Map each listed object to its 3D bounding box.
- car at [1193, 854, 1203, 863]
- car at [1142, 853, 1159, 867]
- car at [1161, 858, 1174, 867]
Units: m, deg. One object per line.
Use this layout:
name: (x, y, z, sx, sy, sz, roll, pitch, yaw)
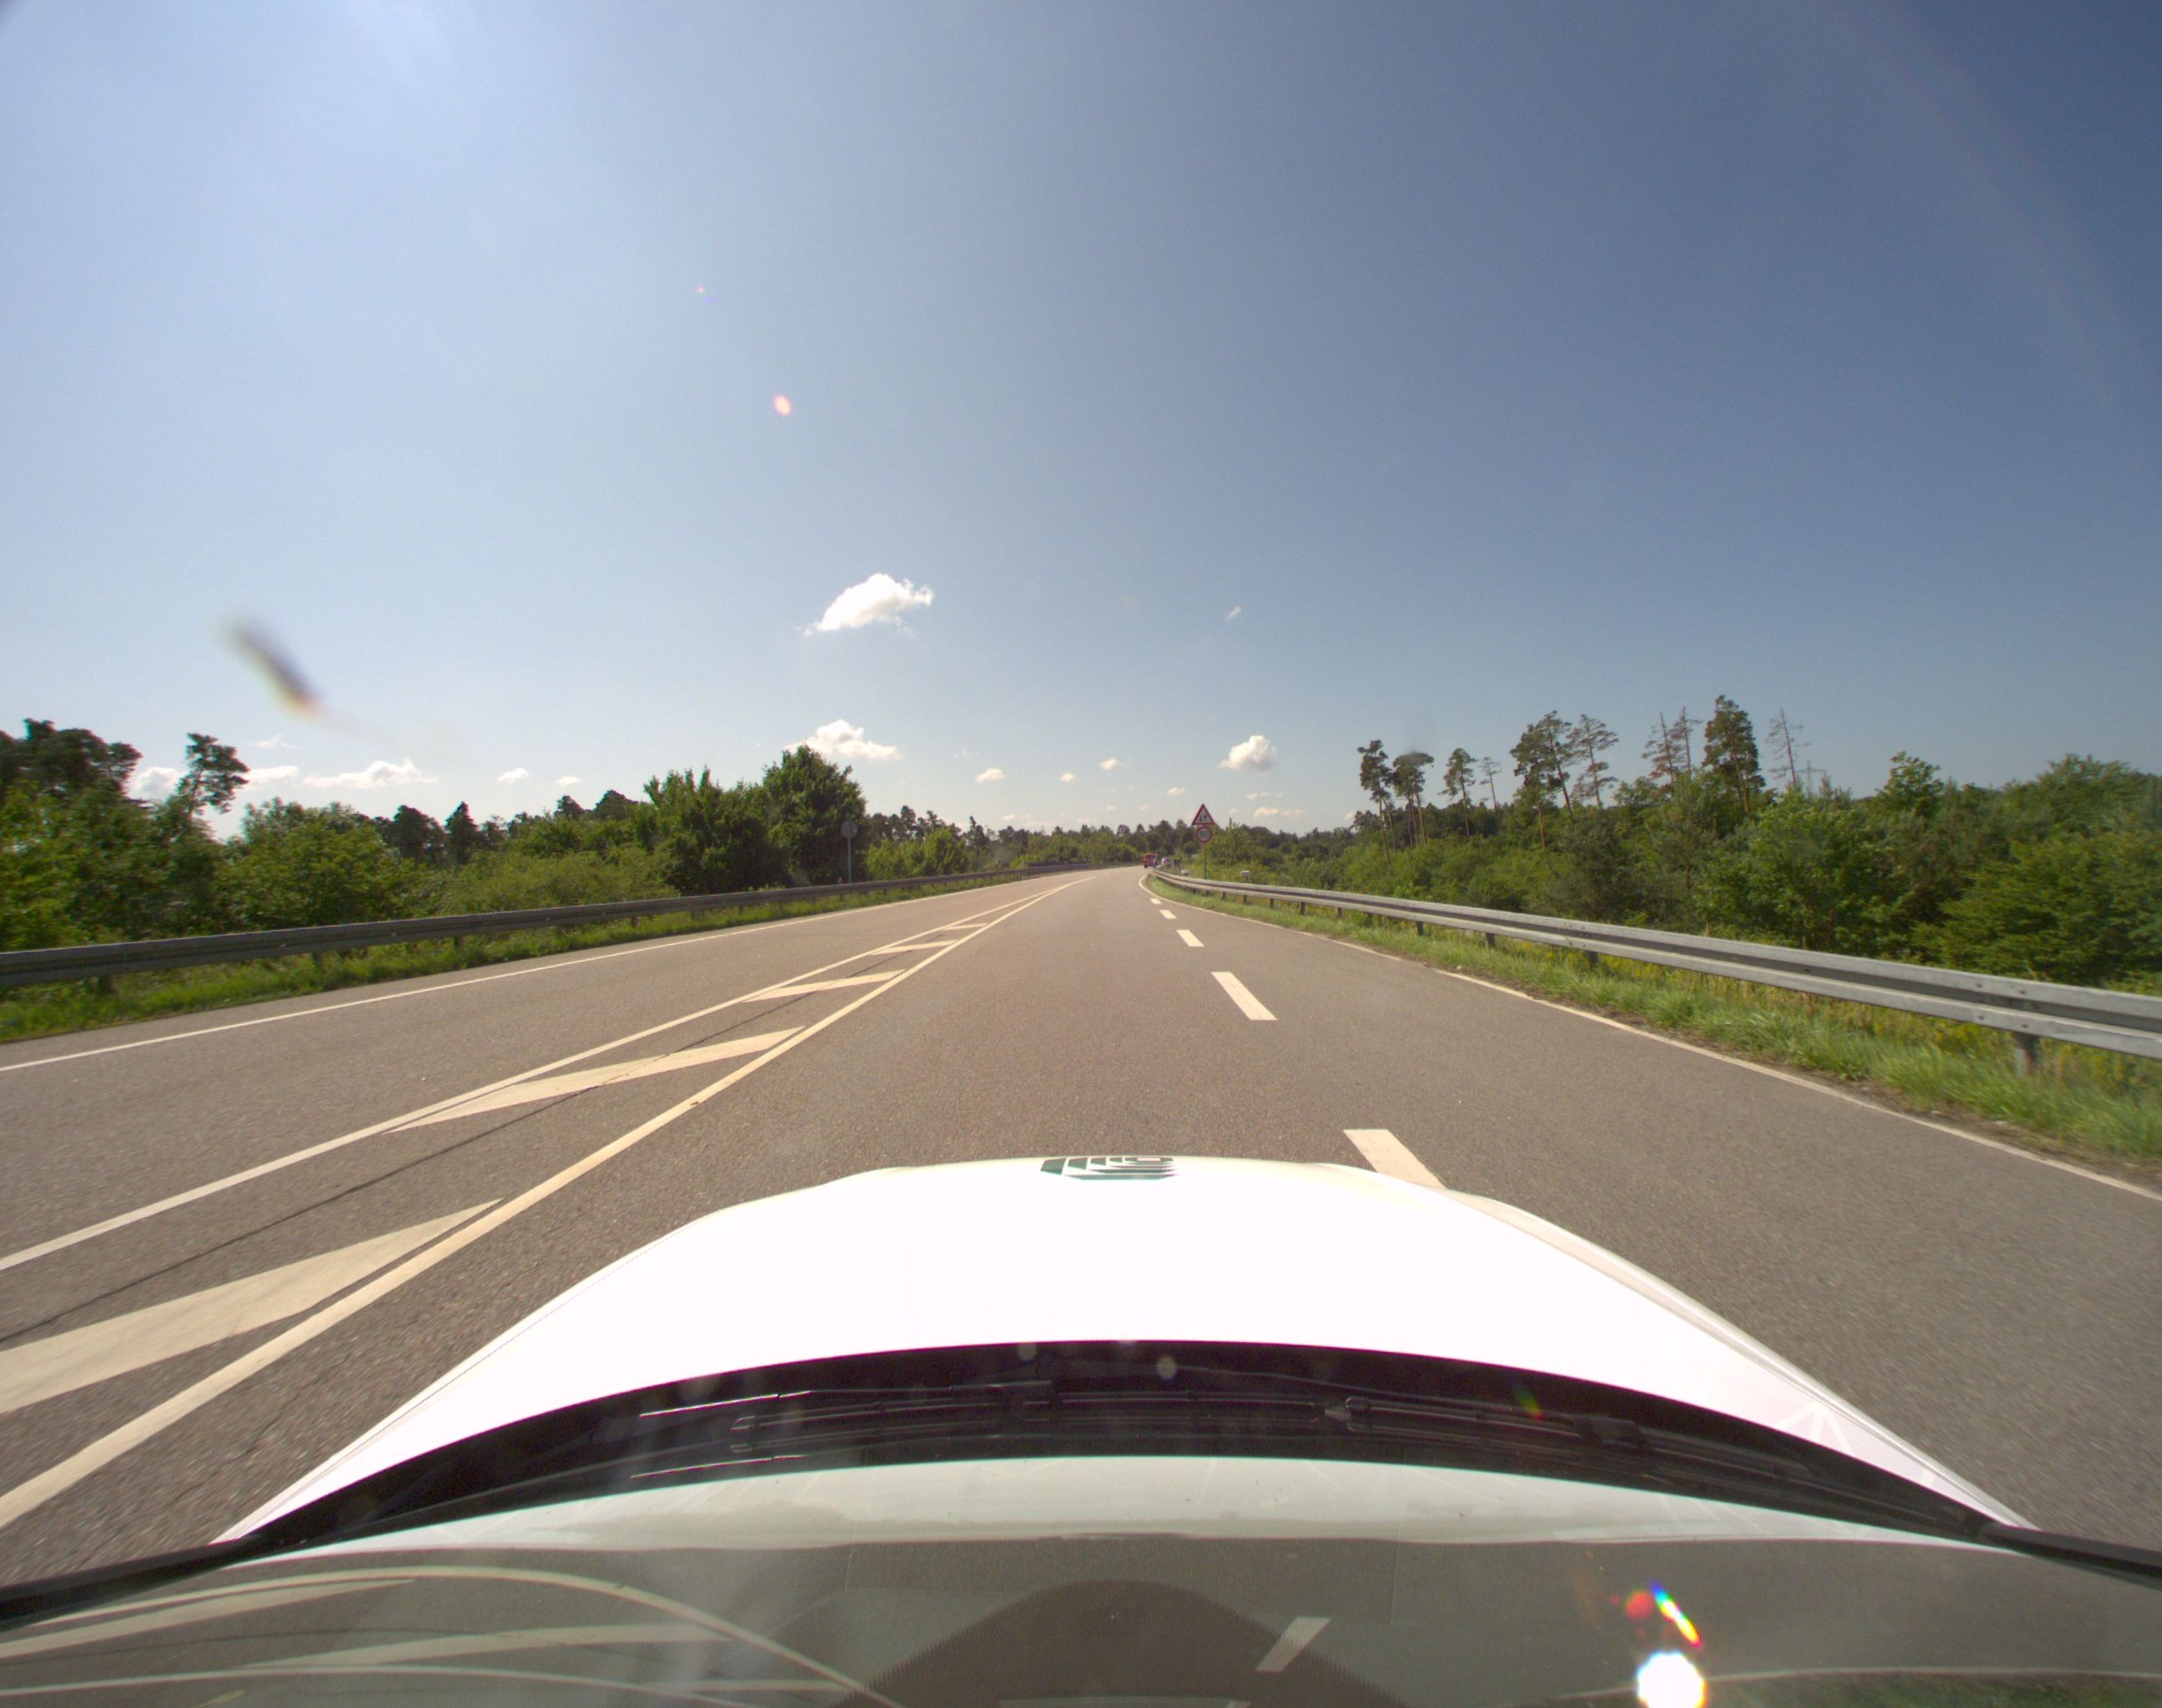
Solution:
car: (27.815, 1.084, 193.490, 2.171, 1.955, 5.820, 0, 0, 10)
car: (9.798, 0.857, 115.000, 2.065, 1.993, 5.123, 0, -1, 8)
car: (14.464, 1.487, 136.433, 1.996, 1.494, 4.248, 0, -1, 8)
